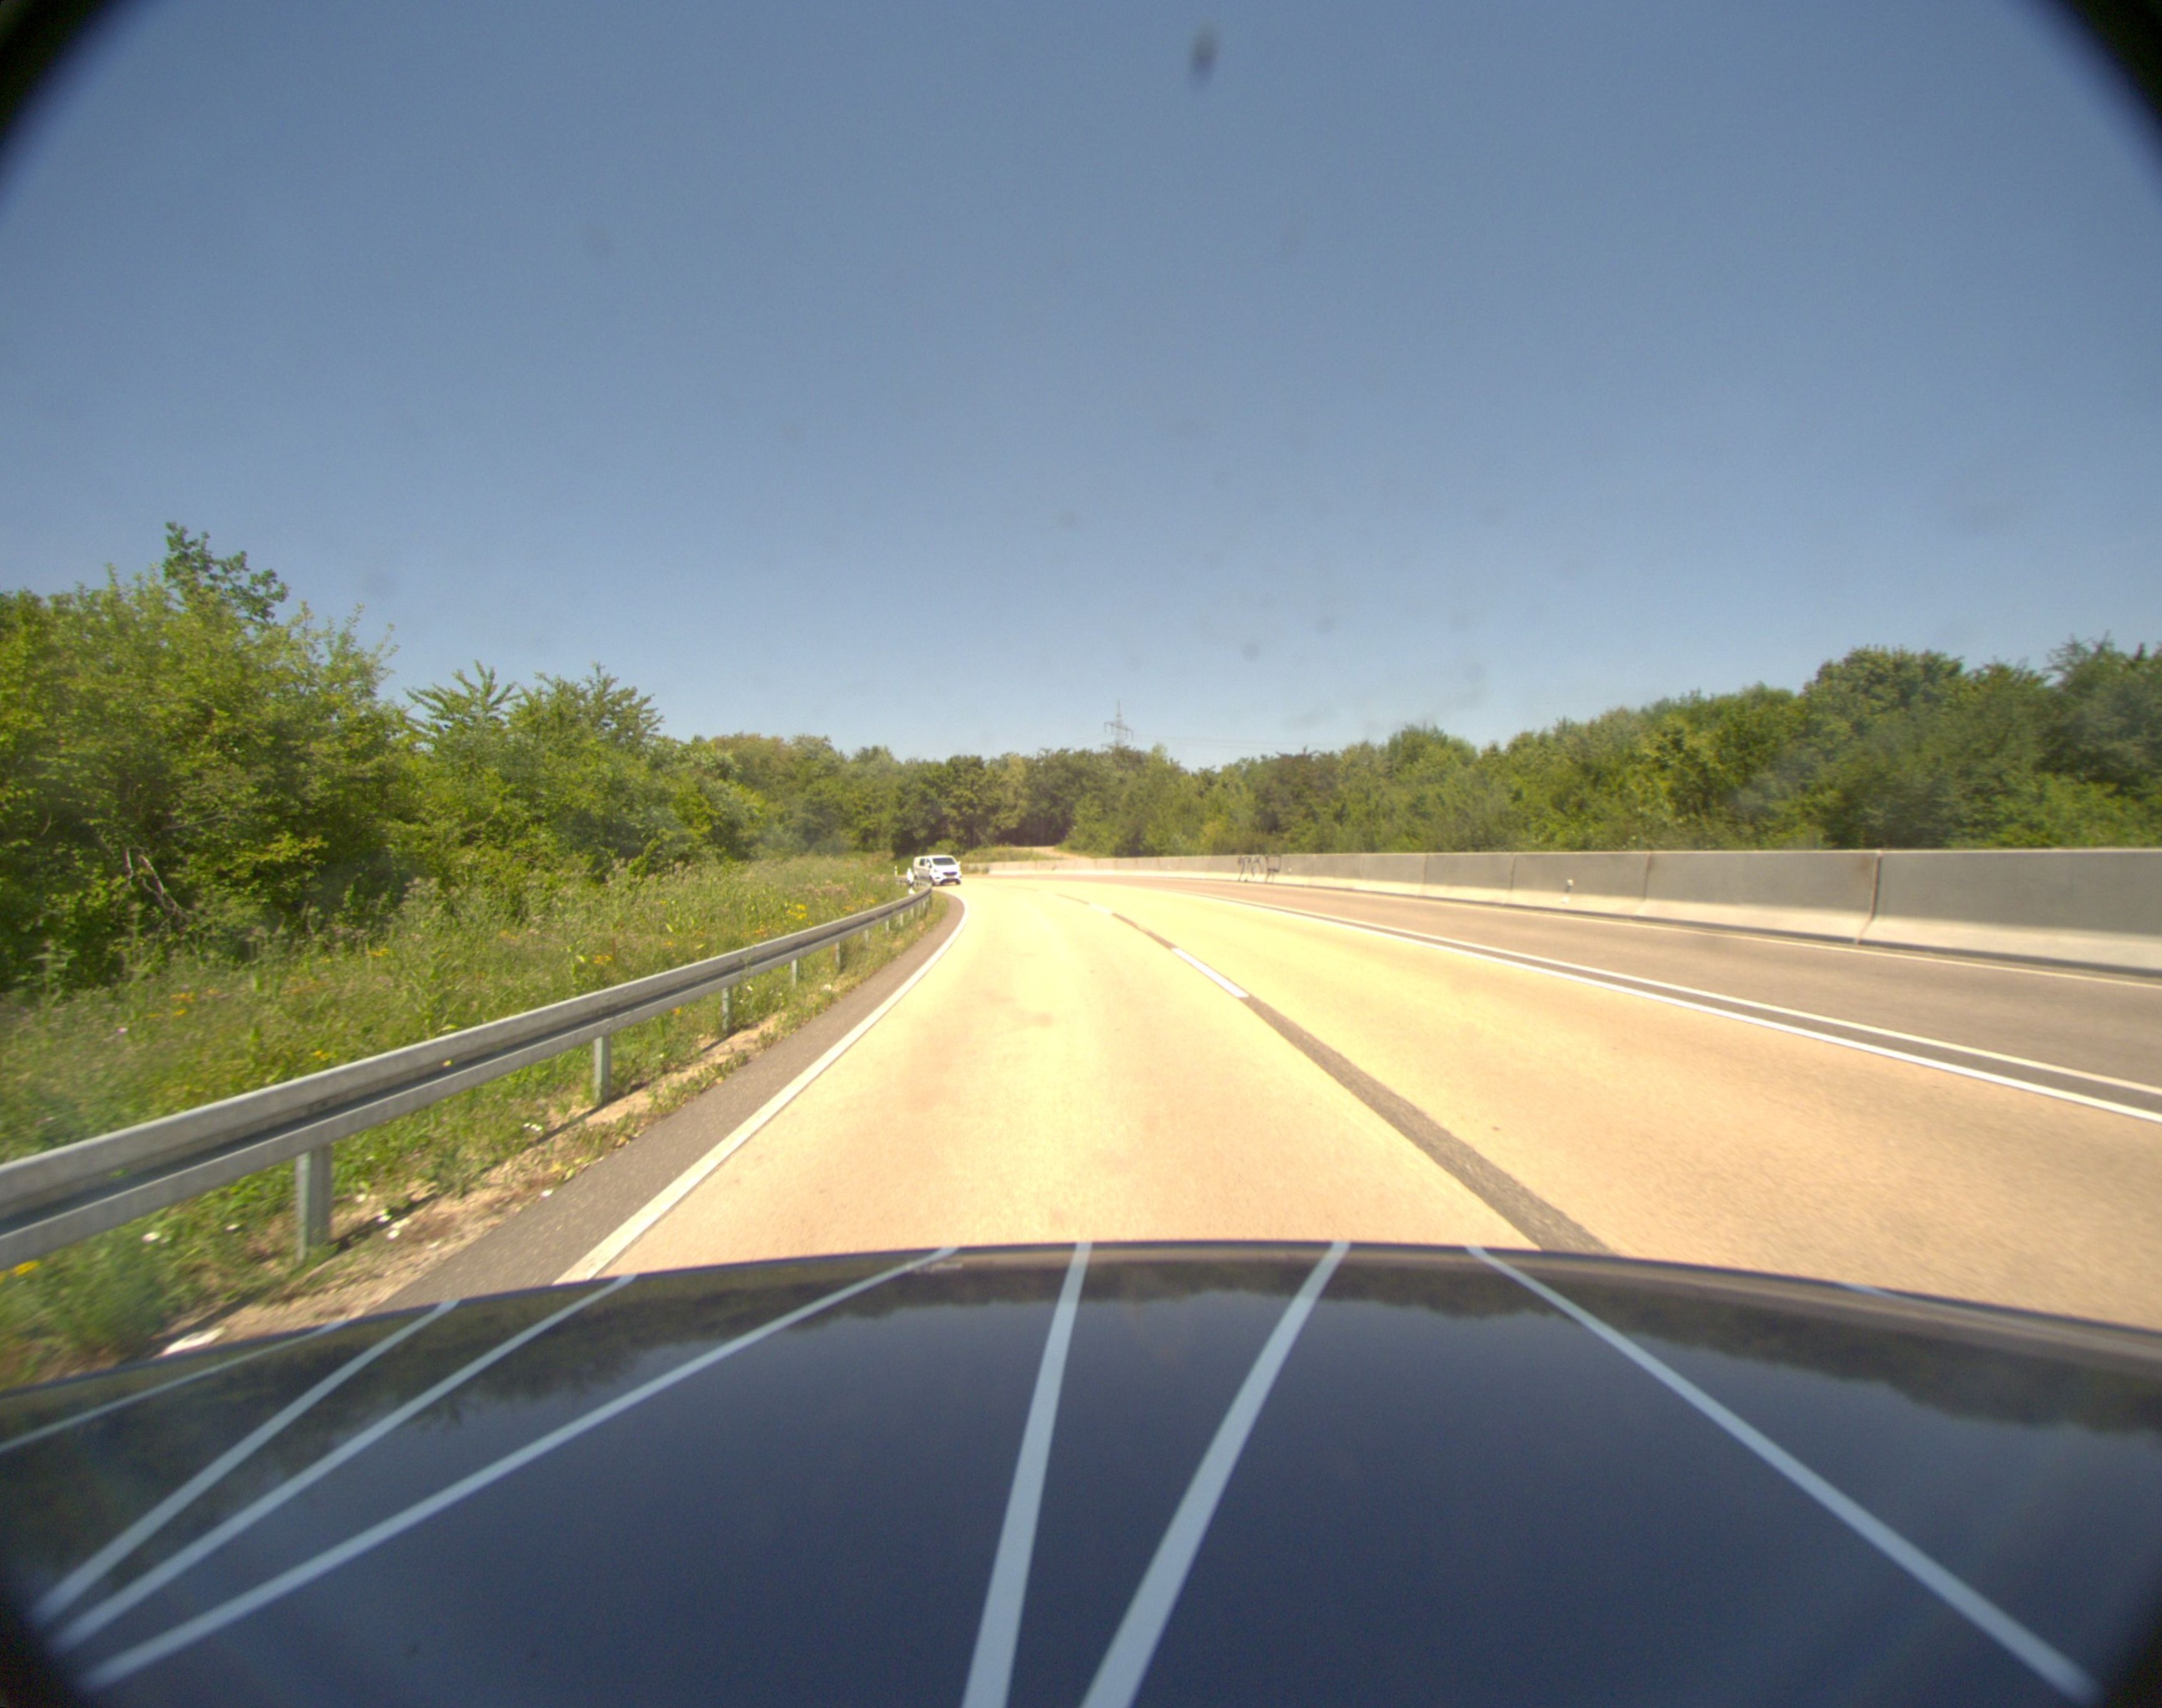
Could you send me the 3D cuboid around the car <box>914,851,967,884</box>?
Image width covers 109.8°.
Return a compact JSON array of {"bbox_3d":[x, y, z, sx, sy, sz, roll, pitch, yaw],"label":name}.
[{"bbox_3d":[-9.512,0.909,51.053,2.066,2.002,5.030,-3,1,-27],"label":"car"}]
